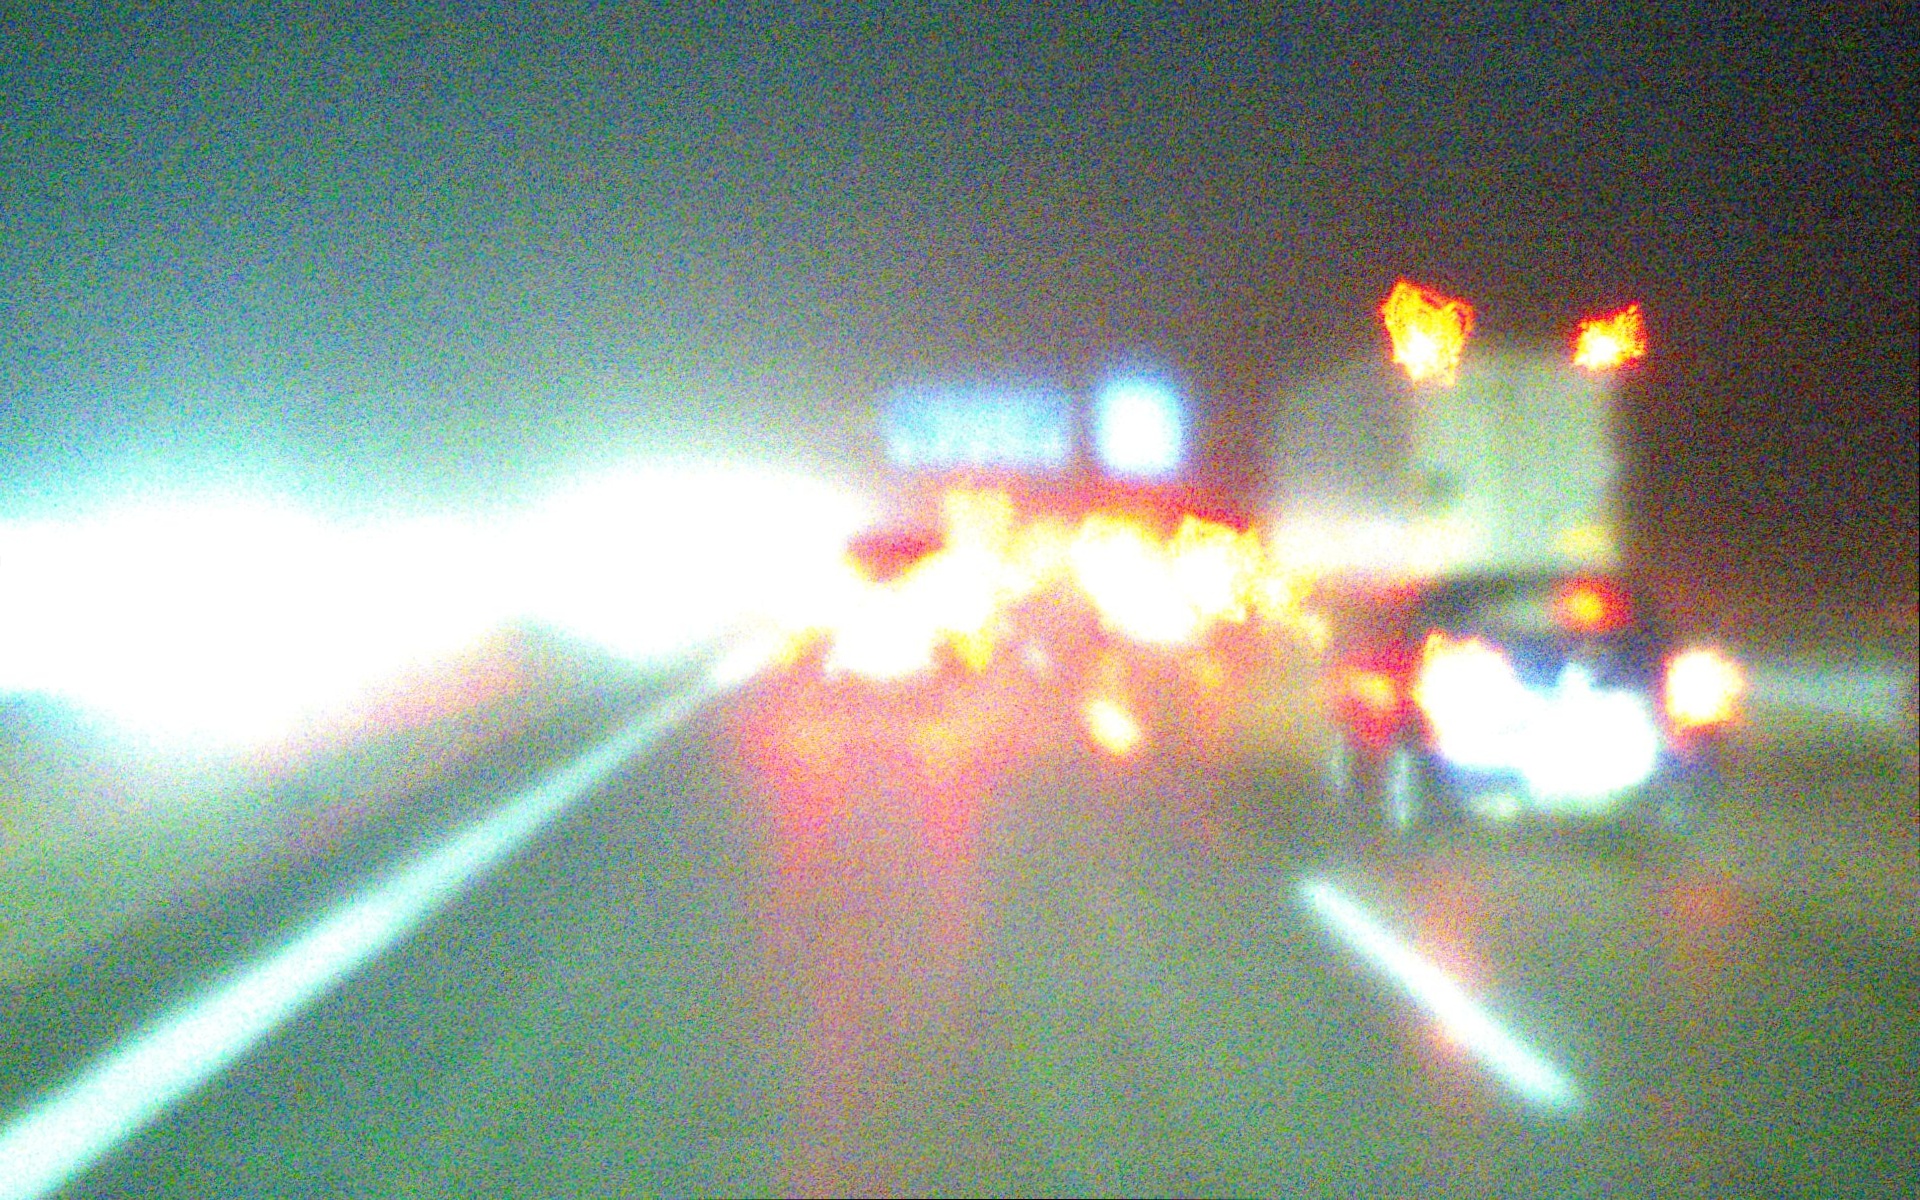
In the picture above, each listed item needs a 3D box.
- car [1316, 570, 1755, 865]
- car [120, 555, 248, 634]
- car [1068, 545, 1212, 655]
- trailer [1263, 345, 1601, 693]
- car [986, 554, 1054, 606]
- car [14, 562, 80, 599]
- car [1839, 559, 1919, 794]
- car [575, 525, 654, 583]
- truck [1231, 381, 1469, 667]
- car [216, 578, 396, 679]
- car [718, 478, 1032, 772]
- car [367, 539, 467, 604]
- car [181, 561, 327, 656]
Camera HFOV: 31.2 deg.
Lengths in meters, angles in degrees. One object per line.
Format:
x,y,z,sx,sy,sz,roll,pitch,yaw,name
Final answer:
2.992,0.557,18.583,1.612,1.407,3.792,0,1,-2,car
-17.164,-0.151,76.231,1.872,1.611,4.502,-2,1,-2,car
2.685,-0.034,51.989,1.884,1.583,4.000,0,1,-1,car
6.265,-1.079,47.780,2.803,4.198,12.097,0,1,-1,trailer
1.941,-0.666,112.044,2.137,1.612,4.000,1,1,0,car
-37.410,-0.814,140.946,1.862,1.466,4.354,1,1,-4,car
7.126,0.530,21.349,1.894,1.481,4.962,1,1,-2,car
-10.310,-1.396,102.848,1.993,1.611,4.418,-2,1,-2,car
6.116,-1.190,55.021,2.803,4.252,7.448,0,1,-1,truck
-9.625,0.387,50.919,1.962,1.340,4.289,0,1,-2,car
-0.869,0.156,33.592,2.709,2.525,5.832,-2,1,-2,car
-14.342,-0.780,91.008,1.993,1.611,4.746,-2,1,-2,car
-12.781,0.117,62.533,1.650,1.576,5.128,0,1,-1,car
